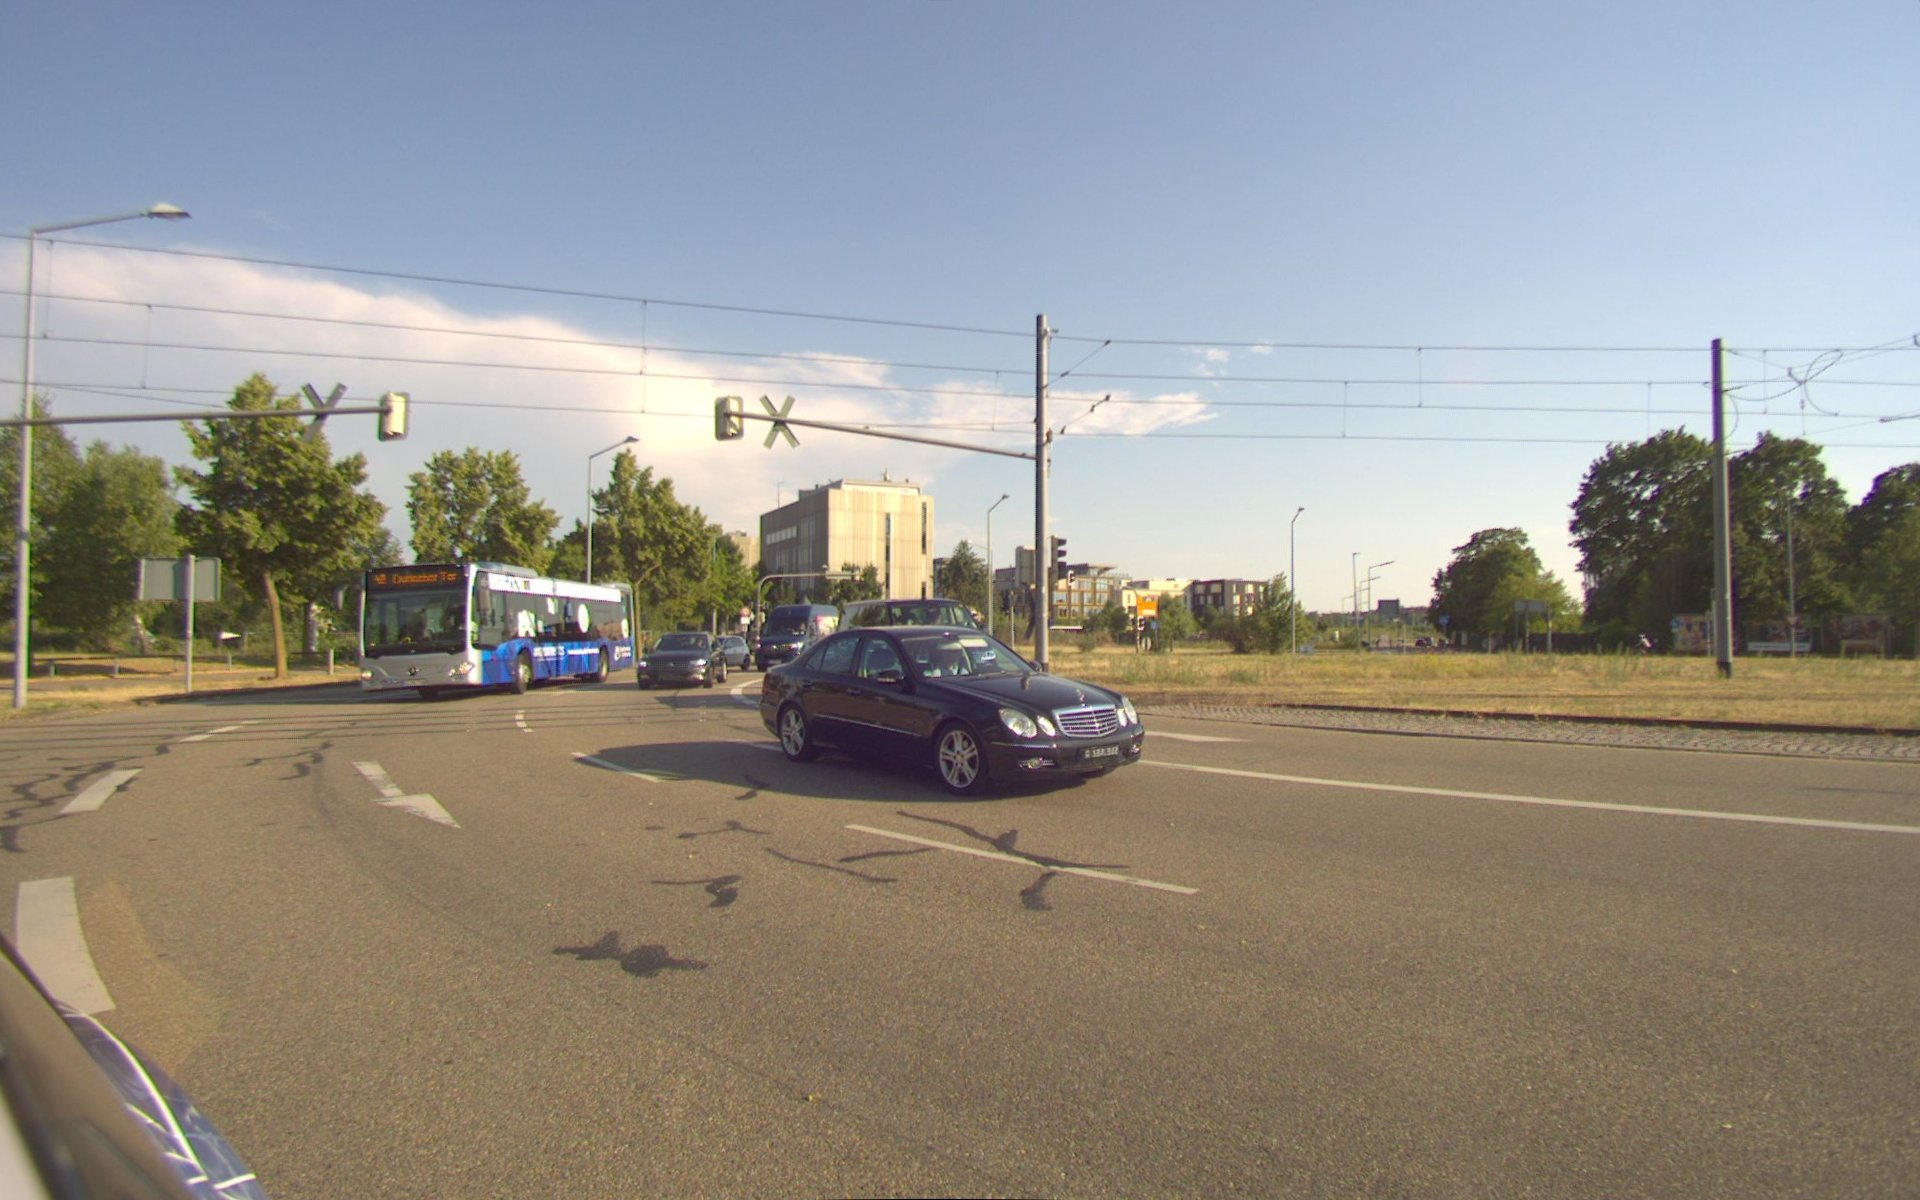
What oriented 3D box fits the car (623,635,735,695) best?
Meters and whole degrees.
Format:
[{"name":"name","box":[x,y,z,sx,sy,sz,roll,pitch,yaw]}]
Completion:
[{"name":"car","box":[-7.265,1.639,26.599,1.785,1.447,4.387,0,-2,-1]}]

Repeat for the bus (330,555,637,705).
[{"name":"bus","box":[-11.712,0.818,26.861,2.628,3.085,12.180,0,-2,-1]}]

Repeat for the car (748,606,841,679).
[{"name":"car","box":[-6.348,1.678,39.509,1.977,2.614,5.470,-2,-3,9]}]

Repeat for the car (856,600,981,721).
[{"name":"car","box":[-0.967,1.112,19.888,2.062,2.063,5.251,0,-2,-6]}]

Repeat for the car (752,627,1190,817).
[{"name":"car","box":[-0.175,1.006,10.029,1.813,1.417,4.710,2,-3,-38]}]
